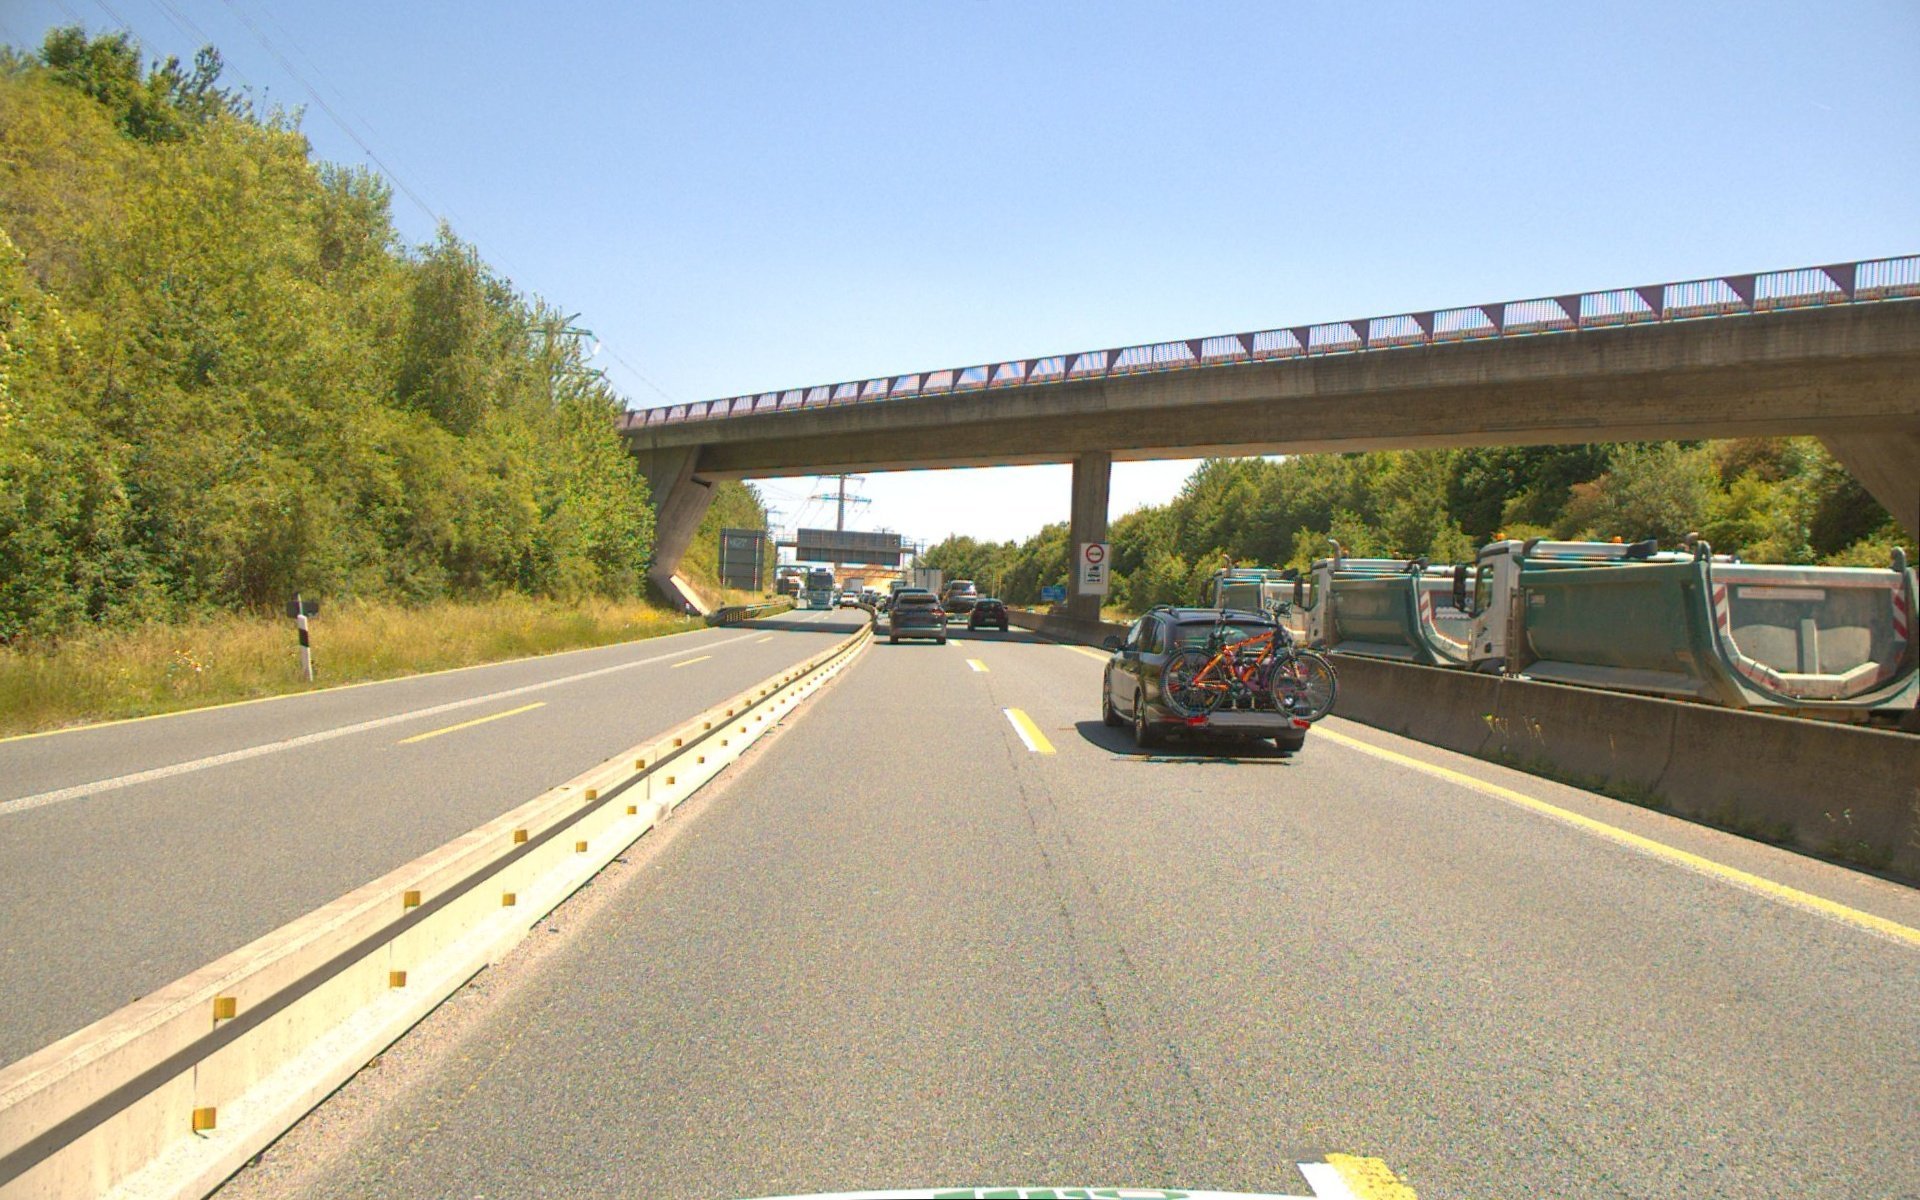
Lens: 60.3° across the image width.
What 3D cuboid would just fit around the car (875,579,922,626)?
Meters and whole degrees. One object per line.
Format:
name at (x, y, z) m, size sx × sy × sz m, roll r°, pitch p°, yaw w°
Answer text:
car at (-2.703, 0.115, 73.814) m, size 1.860 × 2.003 × 4.276 m, roll 1°, pitch 0°, yaw 0°

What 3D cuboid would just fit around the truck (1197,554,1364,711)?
truck at (8.782, 0.810, 46.501) m, size 2.633 × 3.910 × 9.323 m, roll 1°, pitch 0°, yaw -1°

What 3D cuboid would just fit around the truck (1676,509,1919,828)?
truck at (12.189, 0.799, 20.165) m, size 2.633 × 3.619 × 9.322 m, roll 1°, pitch 0°, yaw -1°

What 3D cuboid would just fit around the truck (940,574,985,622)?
truck at (0.084, -0.152, 94.965) m, size 2.357 × 2.603 × 7.498 m, roll 1°, pitch 1°, yaw -2°

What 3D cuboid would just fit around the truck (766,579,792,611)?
truck at (-18.770, -0.527, 171.740) m, size 2.459 × 3.242 × 10.098 m, roll 1°, pitch 0°, yaw -5°

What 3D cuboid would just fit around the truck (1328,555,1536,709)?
truck at (12.343, 0.760, 44.265) m, size 2.633 × 3.619 × 9.322 m, roll 1°, pitch 0°, yaw -1°

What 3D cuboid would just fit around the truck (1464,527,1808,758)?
truck at (12.662, 0.700, 32.168) m, size 2.633 × 3.792 × 9.322 m, roll 1°, pitch 0°, yaw -1°

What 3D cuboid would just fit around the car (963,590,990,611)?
car at (1.341, 0.035, 134.179) m, size 1.862 × 1.613 × 4.273 m, roll 1°, pitch 0°, yaw -4°

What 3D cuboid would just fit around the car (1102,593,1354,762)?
car at (2.704, 0.735, 17.824) m, size 1.860 × 1.516 × 4.947 m, roll 1°, pitch 0°, yaw 0°

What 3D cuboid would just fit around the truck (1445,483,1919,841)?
truck at (9.414, 0.669, 22.594) m, size 2.633 × 3.826 × 9.323 m, roll 1°, pitch 0°, yaw -1°

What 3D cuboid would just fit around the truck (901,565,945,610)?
truck at (-3.482, -1.156, 151.924) m, size 3.228 × 3.912 × 10.098 m, roll 1°, pitch 0°, yaw -5°

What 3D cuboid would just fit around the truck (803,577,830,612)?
truck at (-13.631, -0.526, 156.931) m, size 2.459 × 3.242 × 10.098 m, roll 1°, pitch 0°, yaw -5°

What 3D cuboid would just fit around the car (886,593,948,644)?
car at (-1.361, 0.576, 53.689) m, size 1.860 × 1.531 × 4.276 m, roll 1°, pitch 0°, yaw 0°

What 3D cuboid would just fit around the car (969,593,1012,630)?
car at (1.372, 0.511, 76.079) m, size 1.860 × 1.613 × 4.276 m, roll 1°, pitch 0°, yaw 0°

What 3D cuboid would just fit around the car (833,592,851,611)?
car at (-12.140, 0.179, 169.693) m, size 1.728 × 1.870 × 3.995 m, roll 1°, pitch 0°, yaw -5°

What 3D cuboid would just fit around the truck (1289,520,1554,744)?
truck at (9.145, 0.562, 34.076) m, size 2.633 × 3.923 × 9.323 m, roll 1°, pitch 0°, yaw -1°

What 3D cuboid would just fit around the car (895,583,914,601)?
car at (-6.307, -0.879, 187.867) m, size 1.863 × 2.003 × 4.270 m, roll 1°, pitch 0°, yaw -7°
